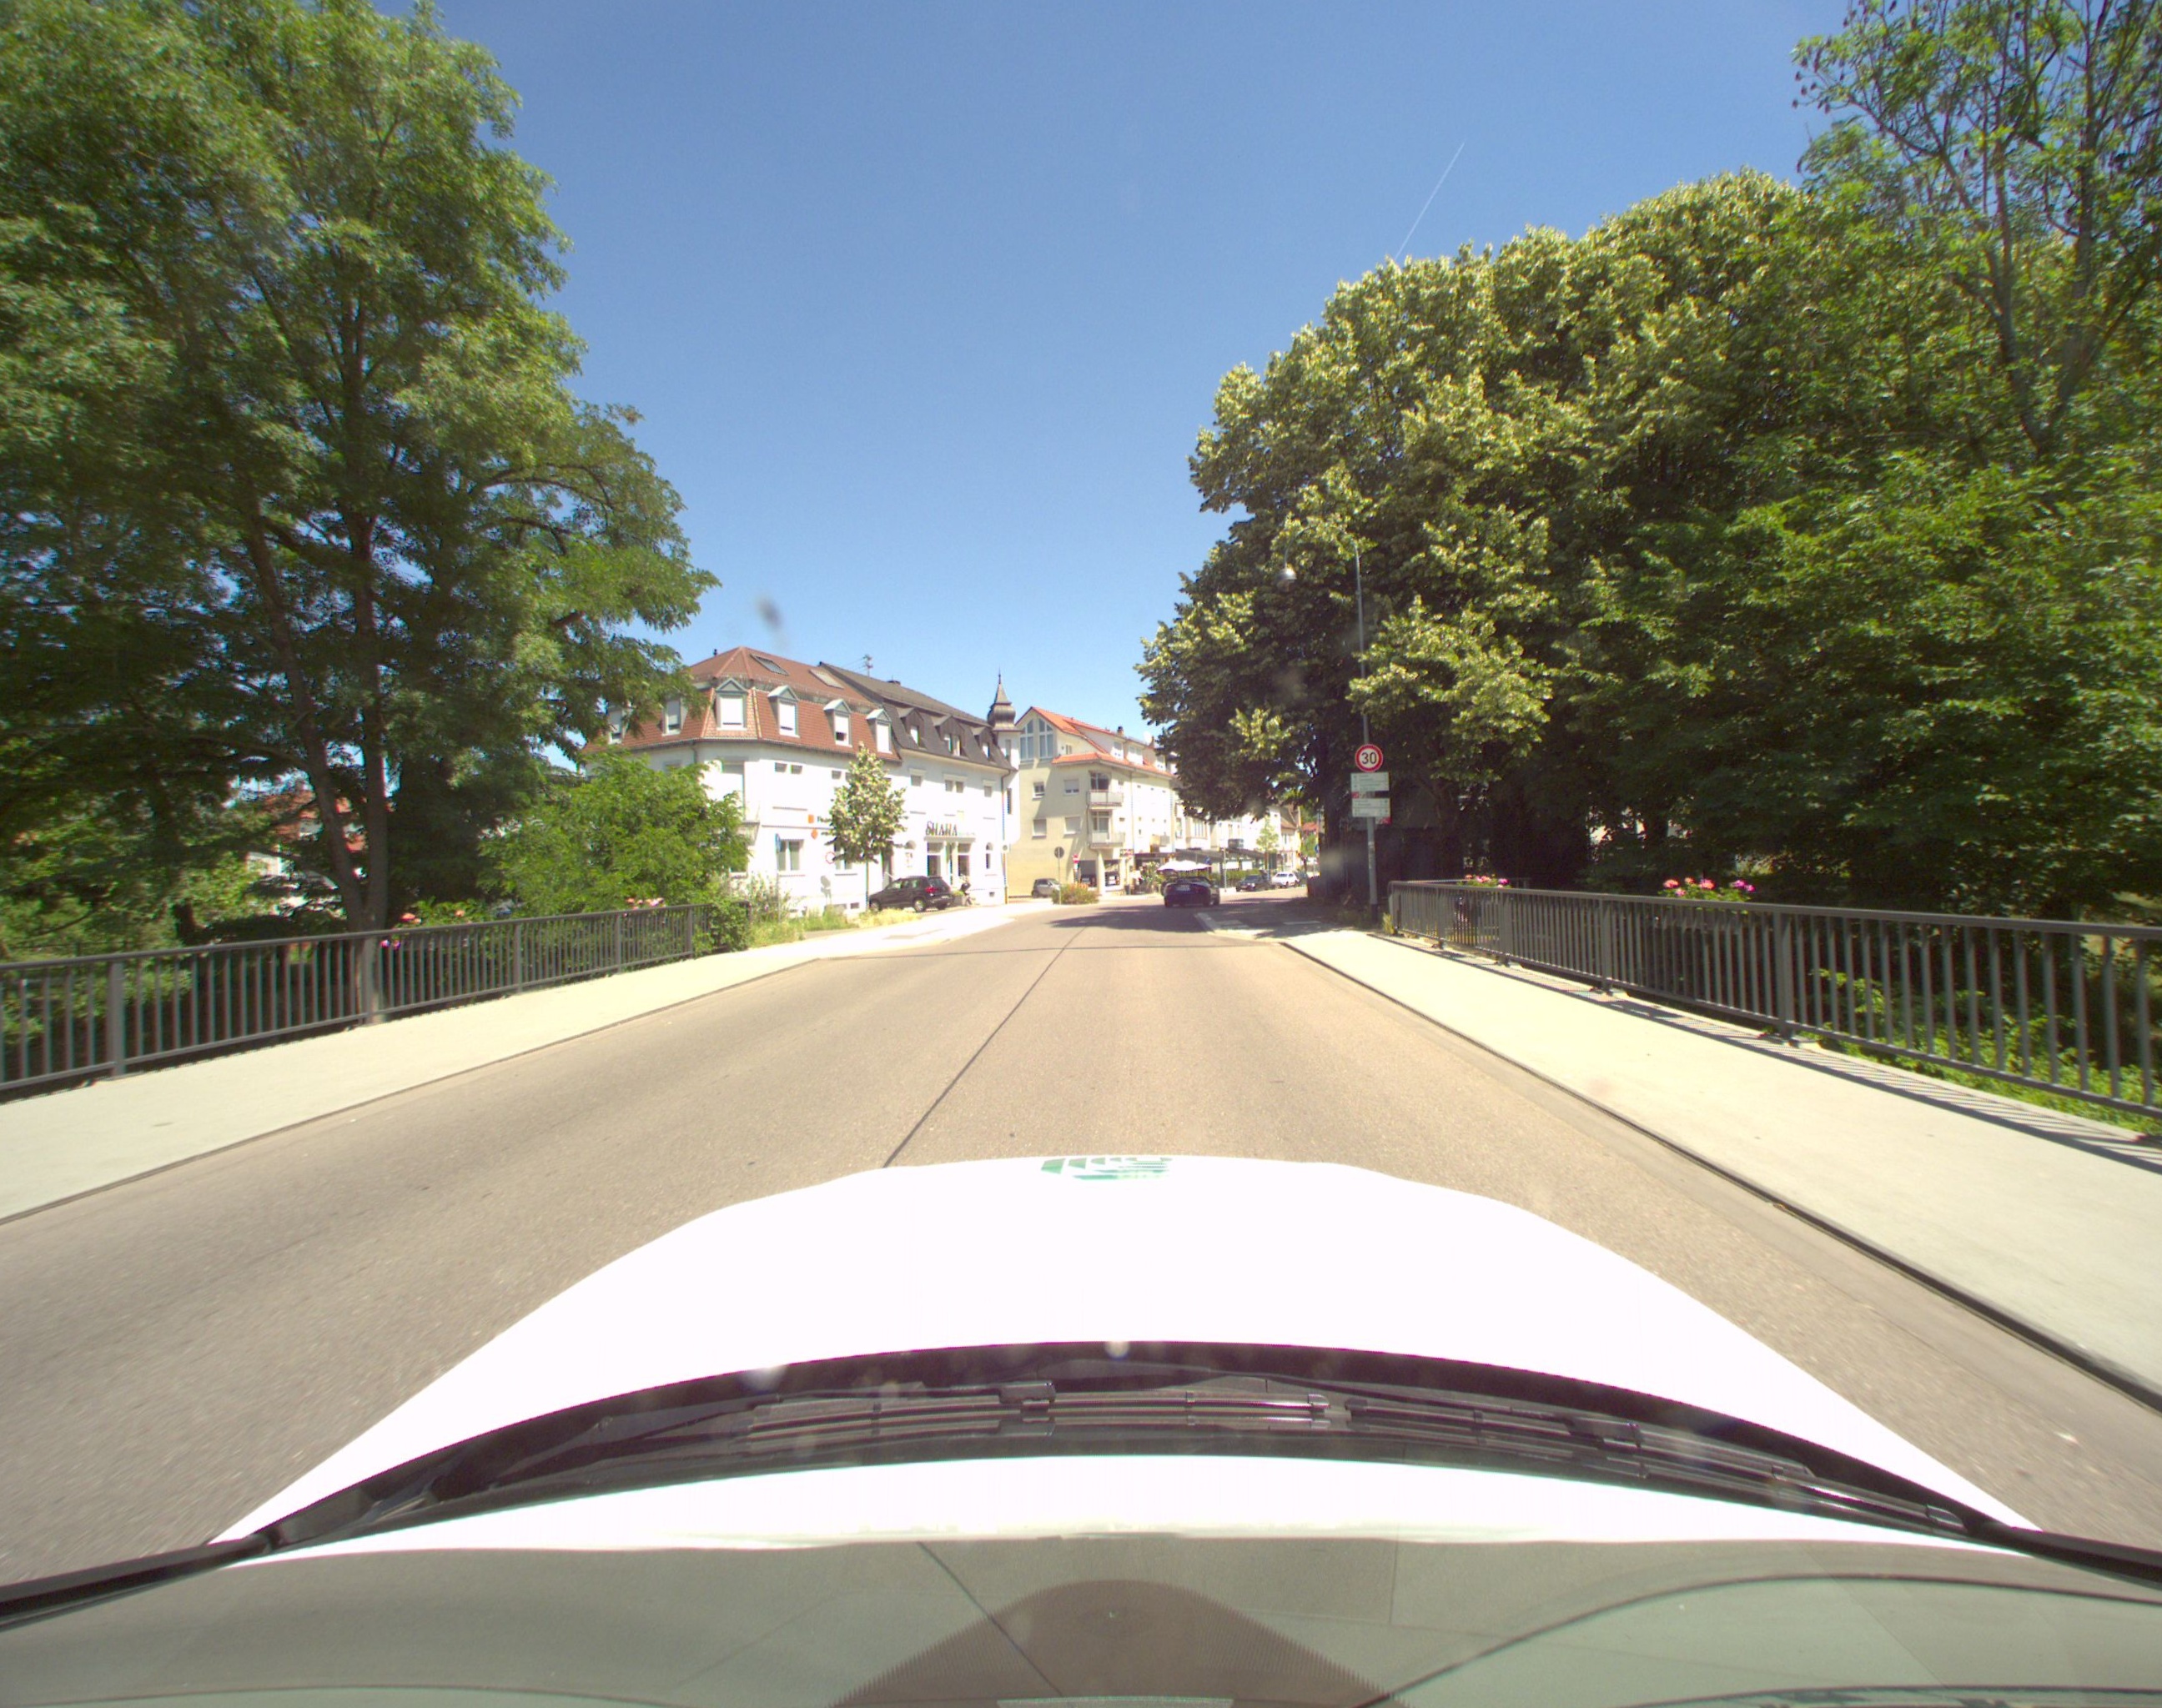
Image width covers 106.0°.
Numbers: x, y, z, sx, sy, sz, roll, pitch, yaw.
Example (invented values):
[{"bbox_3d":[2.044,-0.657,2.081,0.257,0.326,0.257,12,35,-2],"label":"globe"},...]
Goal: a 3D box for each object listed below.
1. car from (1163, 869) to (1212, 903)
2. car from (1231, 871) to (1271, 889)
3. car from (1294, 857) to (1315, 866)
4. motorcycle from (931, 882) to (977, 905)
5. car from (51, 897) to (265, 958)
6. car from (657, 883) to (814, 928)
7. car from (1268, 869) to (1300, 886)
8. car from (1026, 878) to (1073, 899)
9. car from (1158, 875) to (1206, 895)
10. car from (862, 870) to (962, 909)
[{"bbox_3d":[4.708,1.358,35.520,1.859,1.342,4.608,-1,-1,10],"label":"car"},{"bbox_3d":[14.778,2.208,70.620,1.816,1.429,4.812,-1,-1,31],"label":"car"},{"bbox_3d":[51.601,1.736,188.279,4.266,2.014,1.989,0,-4,-16],"label":"car"},{"bbox_3d":[-6.899,2.135,44.118,2.372,1.218,0.838,-3,-3,26],"label":"motorcycle"},{"bbox_3d":[-28.336,2.223,25.146,3.985,1.543,1.994,-2,-1,-9],"label":"car"},{"bbox_3d":[-12.025,1.789,28.662,4.691,1.356,1.994,-2,-2,-9],"label":"car"},{"bbox_3d":[19.211,2.164,77.012,1.629,1.479,3.966,-1,0,34],"label":"car"},{"bbox_3d":[-2.453,2.691,63.814,3.233,1.458,1.701,-3,-1,24],"label":"car"},{"bbox_3d":[7.737,2.345,62.044,1.696,1.461,4.155,0,-1,38],"label":"car"},{"bbox_3d":[-7.881,1.664,38.047,4.143,1.662,1.982,-3,-2,24],"label":"car"}]
